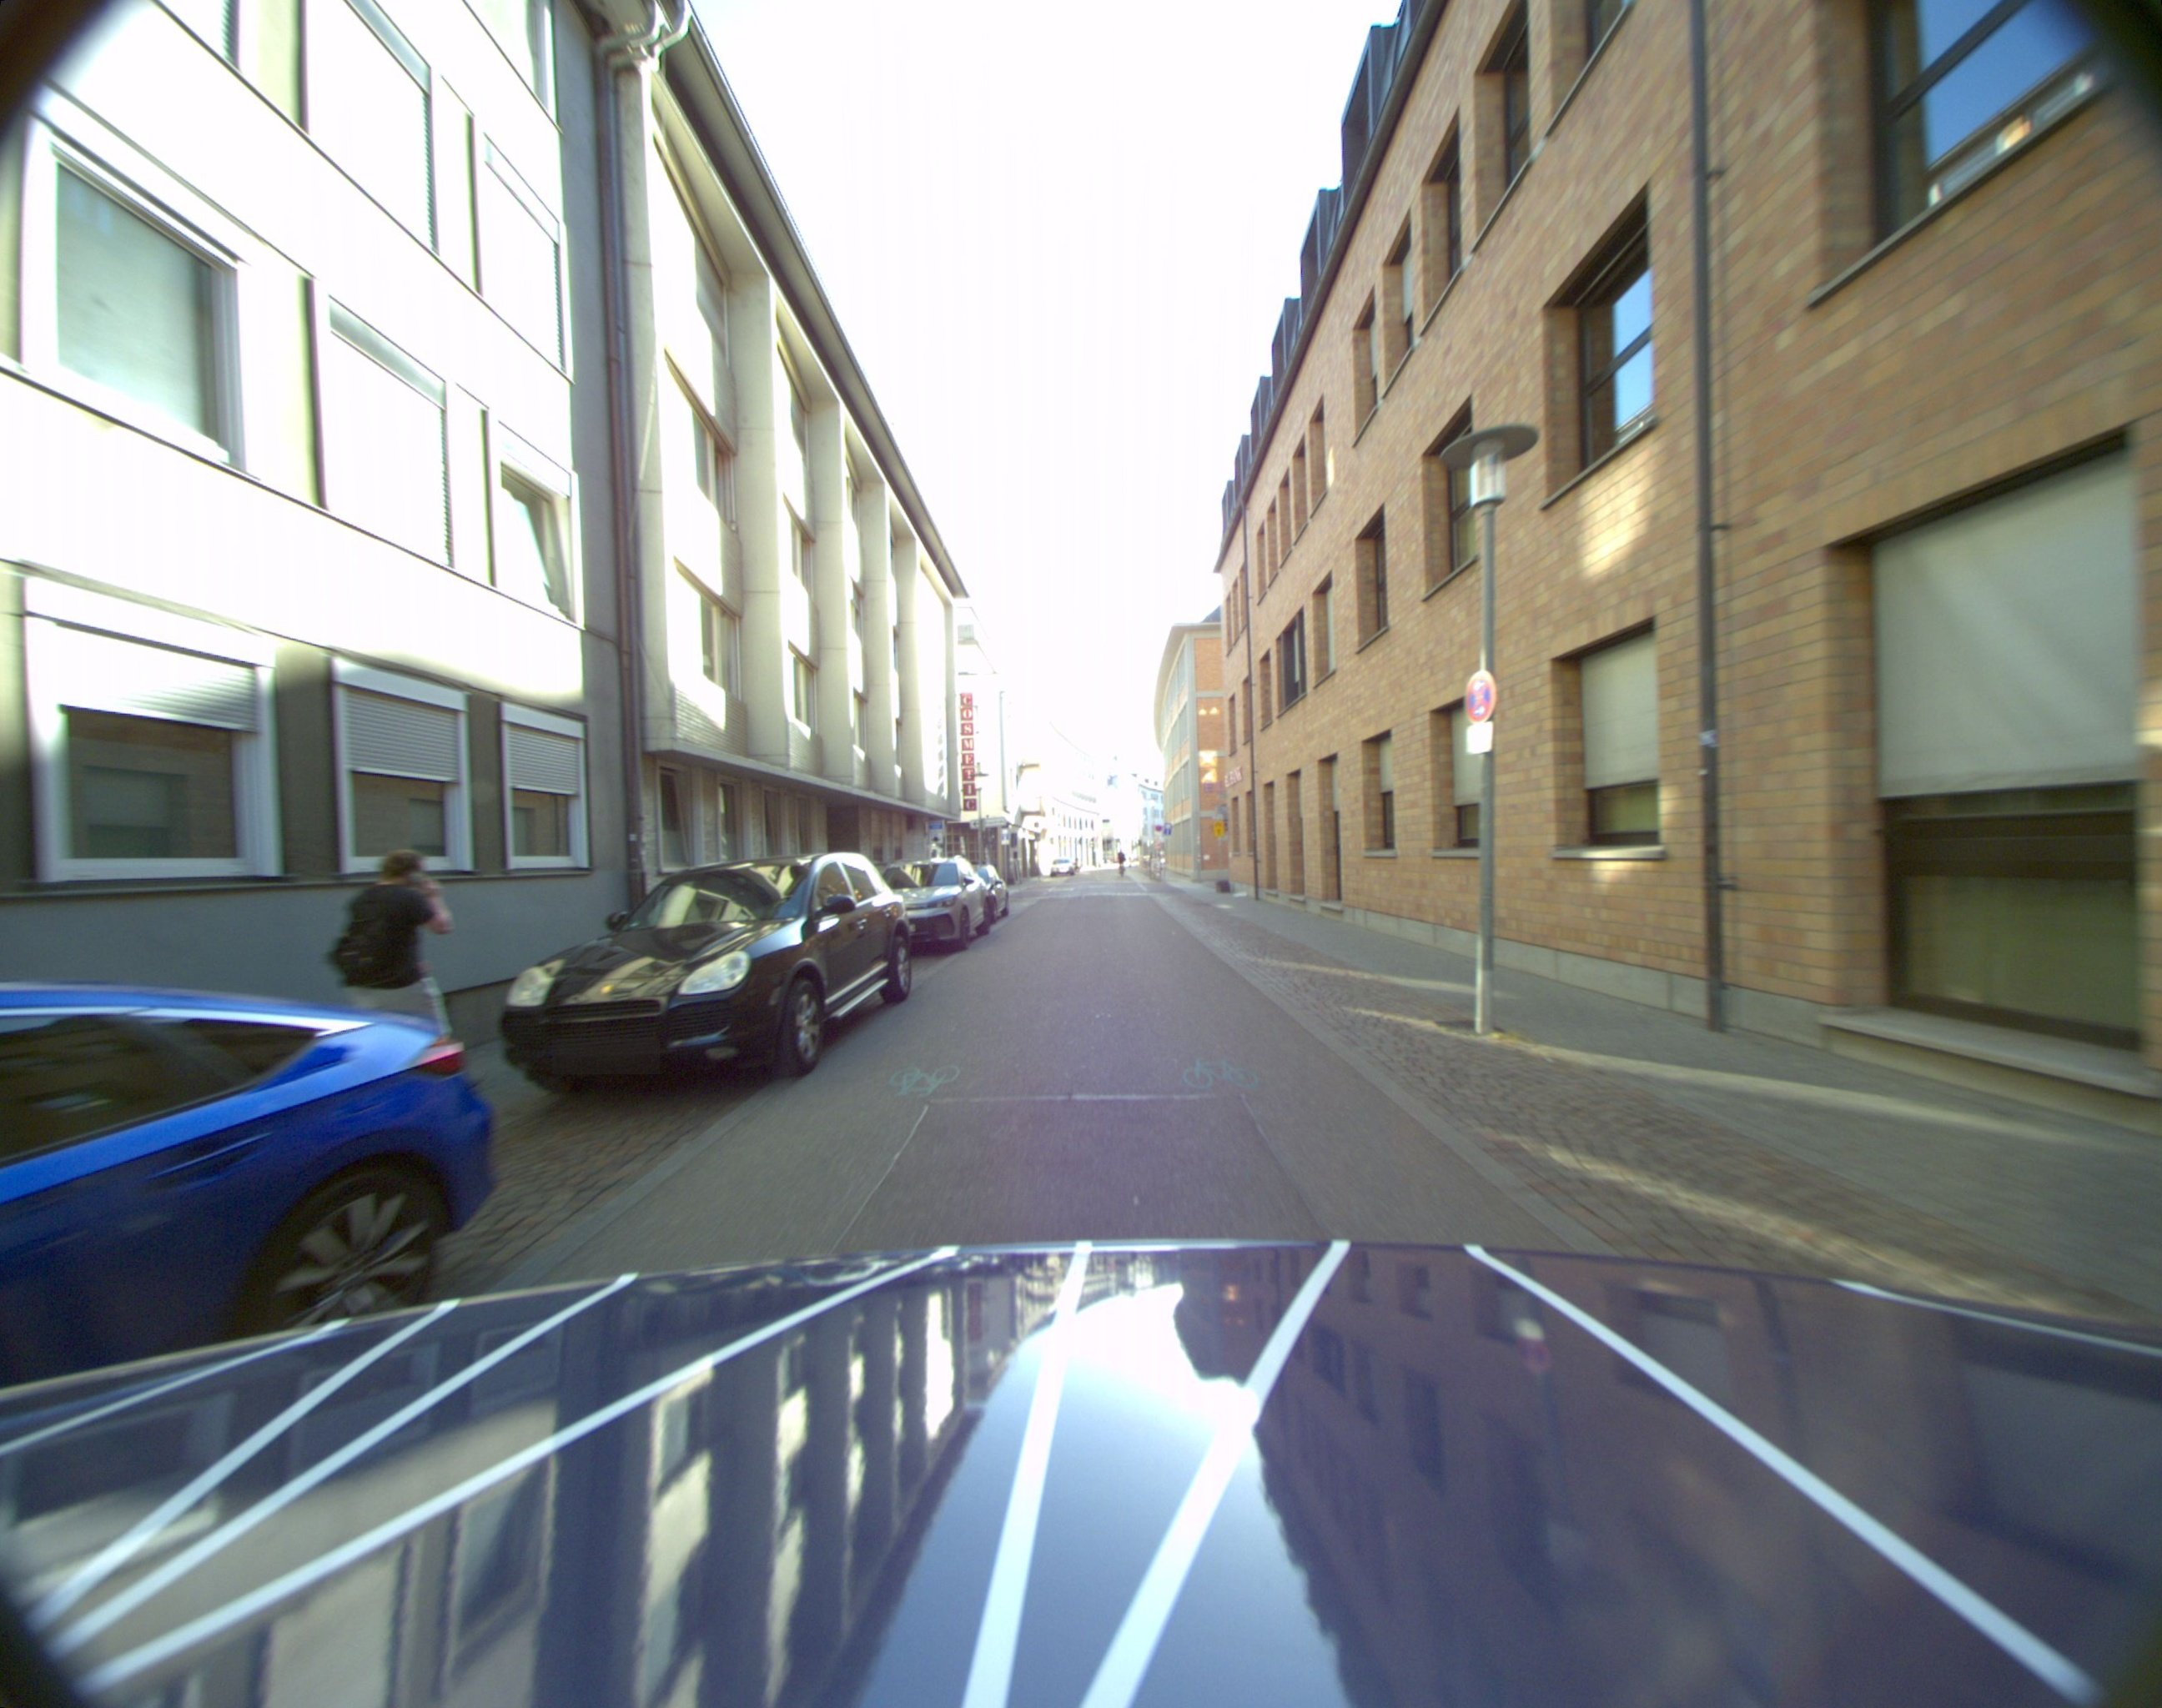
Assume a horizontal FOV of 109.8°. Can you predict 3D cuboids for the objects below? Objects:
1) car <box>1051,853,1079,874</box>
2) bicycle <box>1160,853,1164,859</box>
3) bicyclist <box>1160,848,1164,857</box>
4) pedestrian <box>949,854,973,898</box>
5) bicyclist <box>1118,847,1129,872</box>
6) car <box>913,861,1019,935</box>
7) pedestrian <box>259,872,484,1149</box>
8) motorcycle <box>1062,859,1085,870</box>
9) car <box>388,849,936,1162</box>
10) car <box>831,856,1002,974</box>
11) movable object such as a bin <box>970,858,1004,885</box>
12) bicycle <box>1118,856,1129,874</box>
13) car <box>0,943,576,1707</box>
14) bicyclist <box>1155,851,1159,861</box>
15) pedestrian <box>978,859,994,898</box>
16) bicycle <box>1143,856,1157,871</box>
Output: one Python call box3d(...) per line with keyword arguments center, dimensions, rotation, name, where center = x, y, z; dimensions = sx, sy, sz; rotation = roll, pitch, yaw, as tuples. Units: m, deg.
box3d(center=(-1.232, 0.718, 60.303), dimensions=(1.846, 1.453, 3.999), rotation=(-4, 0, 3), name="car")
box3d(center=(14.597, 0.273, 136.507), dimensions=(0.532, 1.033, 1.620), rotation=(-2, 0, 9), name="bicycle")
box3d(center=(14.566, -0.259, 136.522), dimensions=(0.489, 1.549, 0.718), rotation=(-2, 0, 9), name="bicyclist")
box3d(center=(-4.787, 0.876, 30.388), dimensions=(0.623, 1.726, 0.625), rotation=(-3, 1, -45), name="pedestrian")
box3d(center=(2.874, 0.368, 51.412), dimensions=(0.664, 1.633, 0.925), rotation=(1, 2, 1), name="bicyclist")
box3d(center=(-2.850, 1.045, 19.931), dimensions=(1.827, 1.496, 4.600), rotation=(-5, 0, 2), name="car")
box3d(center=(-4.721, 0.987, 5.118), dimensions=(0.790, 1.711, 0.746), rotation=(0, 1, 1), name="pedestrian")
box3d(center=(-0.715, 0.949, 71.420), dimensions=(1.995, 0.950, 0.646), rotation=(-2, 1, 16), name="motorcycle")
box3d(center=(-3.015, 0.908, 7.108), dimensions=(2.108, 1.775, 5.051), rotation=(-4, 0, 1), name="car")
box3d(center=(-2.863, 0.972, 14.512), dimensions=(1.998, 1.692, 4.843), rotation=(-4, 0, 1), name="car")
box3d(center=(-5.316, 0.965, 42.904), dimensions=(1.437, 1.454, 1.126), rotation=(-3, 1, -40), name="movable object such as a bin")
box3d(center=(2.869, 0.743, 51.399), dimensions=(0.652, 1.125, 1.735), rotation=(1, 1, 1), name="bicycle")
box3d(center=(-3.164, 1.172, 0.931), dimensions=(1.812, 1.404, 4.789), rotation=(-4, 0, 0), name="car")
box3d(center=(11.208, 0.244, 111.822), dimensions=(0.472, 1.495, 0.795), rotation=(-2, 1, 6), name="bicyclist")
box3d(center=(-3.721, 0.946, 29.723), dimensions=(0.574, 1.532, 0.440), rotation=(0, 1, -15), name="pedestrian")
box3d(center=(4.976, 0.702, 54.903), dimensions=(0.628, 1.048, 1.822), rotation=(-2, 0, -4), name="bicycle")
